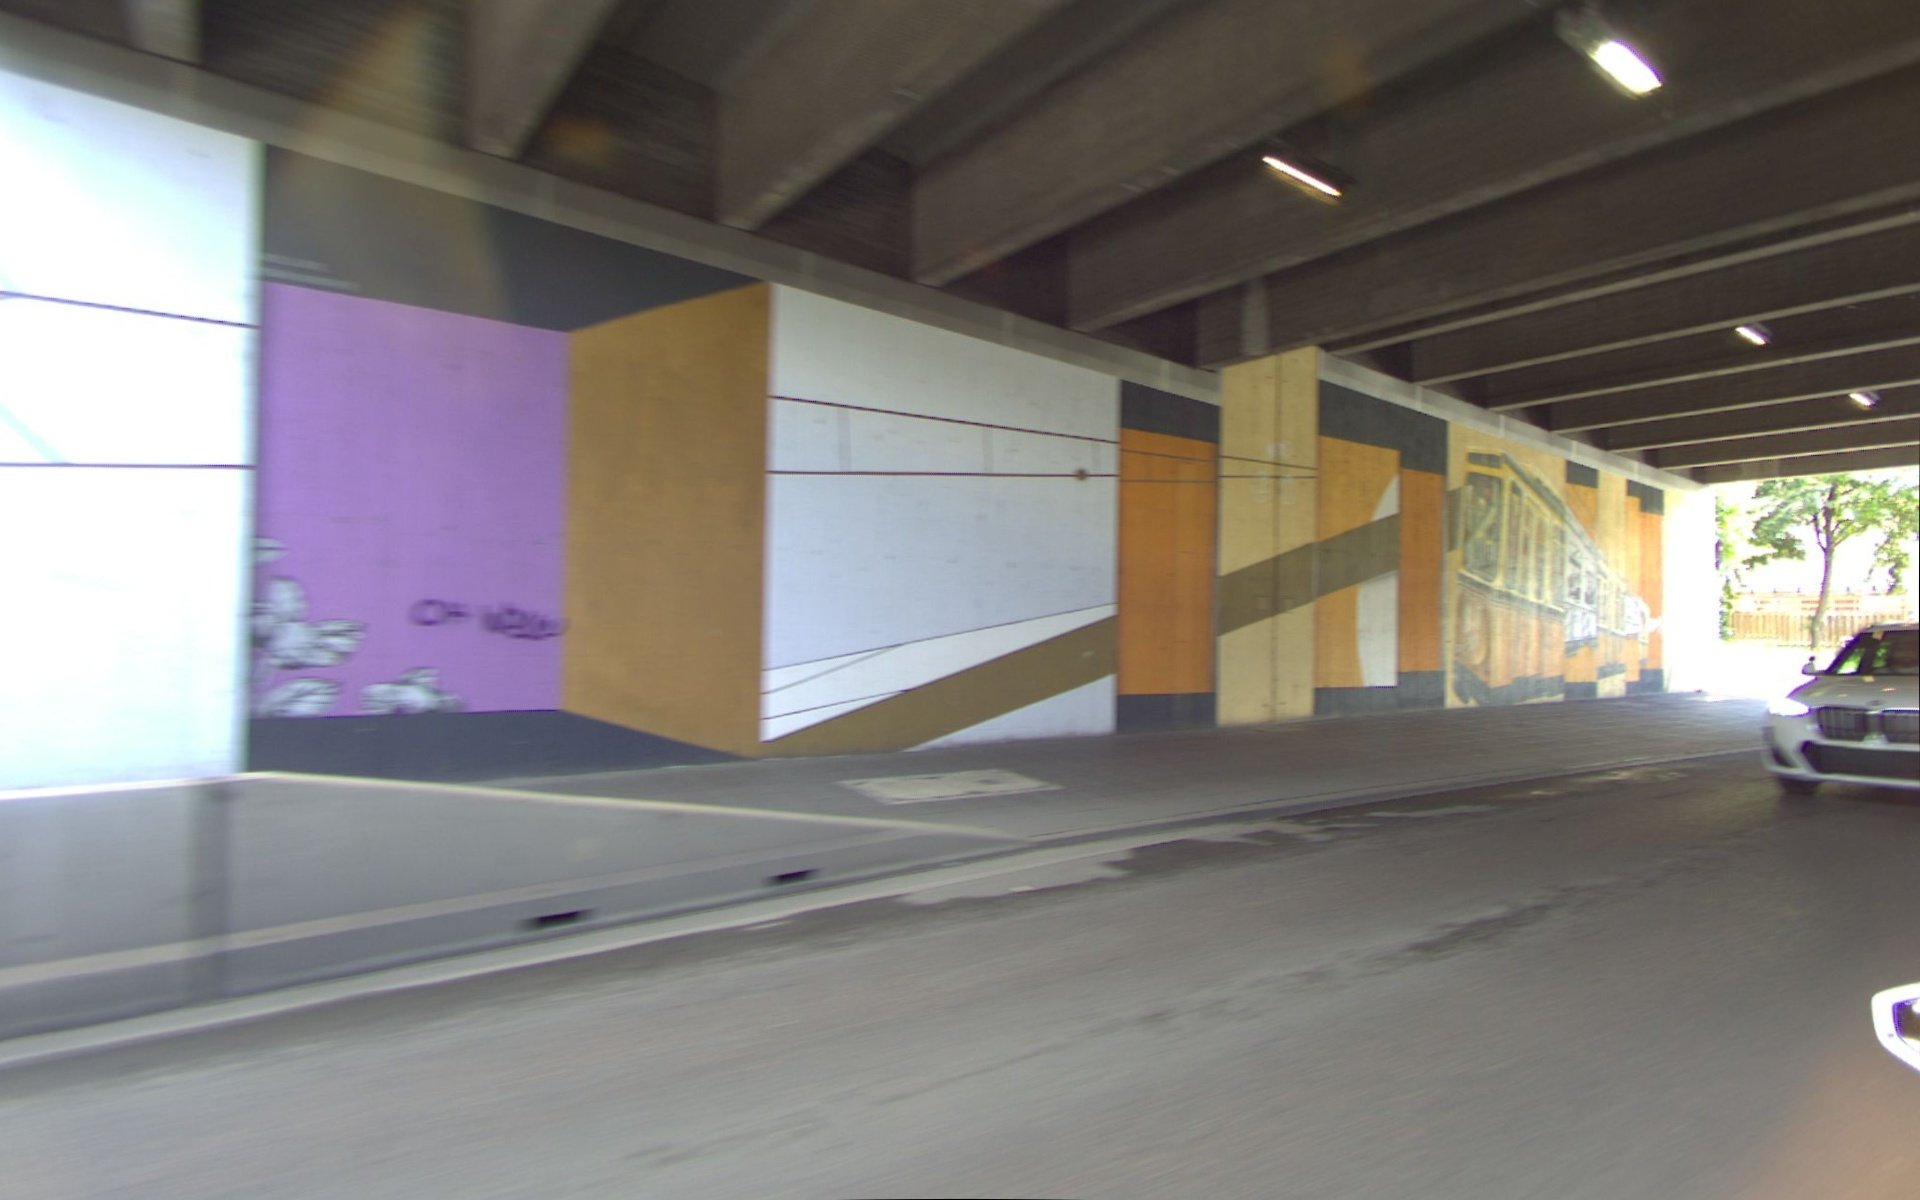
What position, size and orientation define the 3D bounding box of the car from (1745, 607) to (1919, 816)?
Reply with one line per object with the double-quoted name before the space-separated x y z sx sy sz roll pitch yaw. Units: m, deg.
"car" 9.270 0.944 9.417 4.170 1.675 1.814 1 -2 -34
